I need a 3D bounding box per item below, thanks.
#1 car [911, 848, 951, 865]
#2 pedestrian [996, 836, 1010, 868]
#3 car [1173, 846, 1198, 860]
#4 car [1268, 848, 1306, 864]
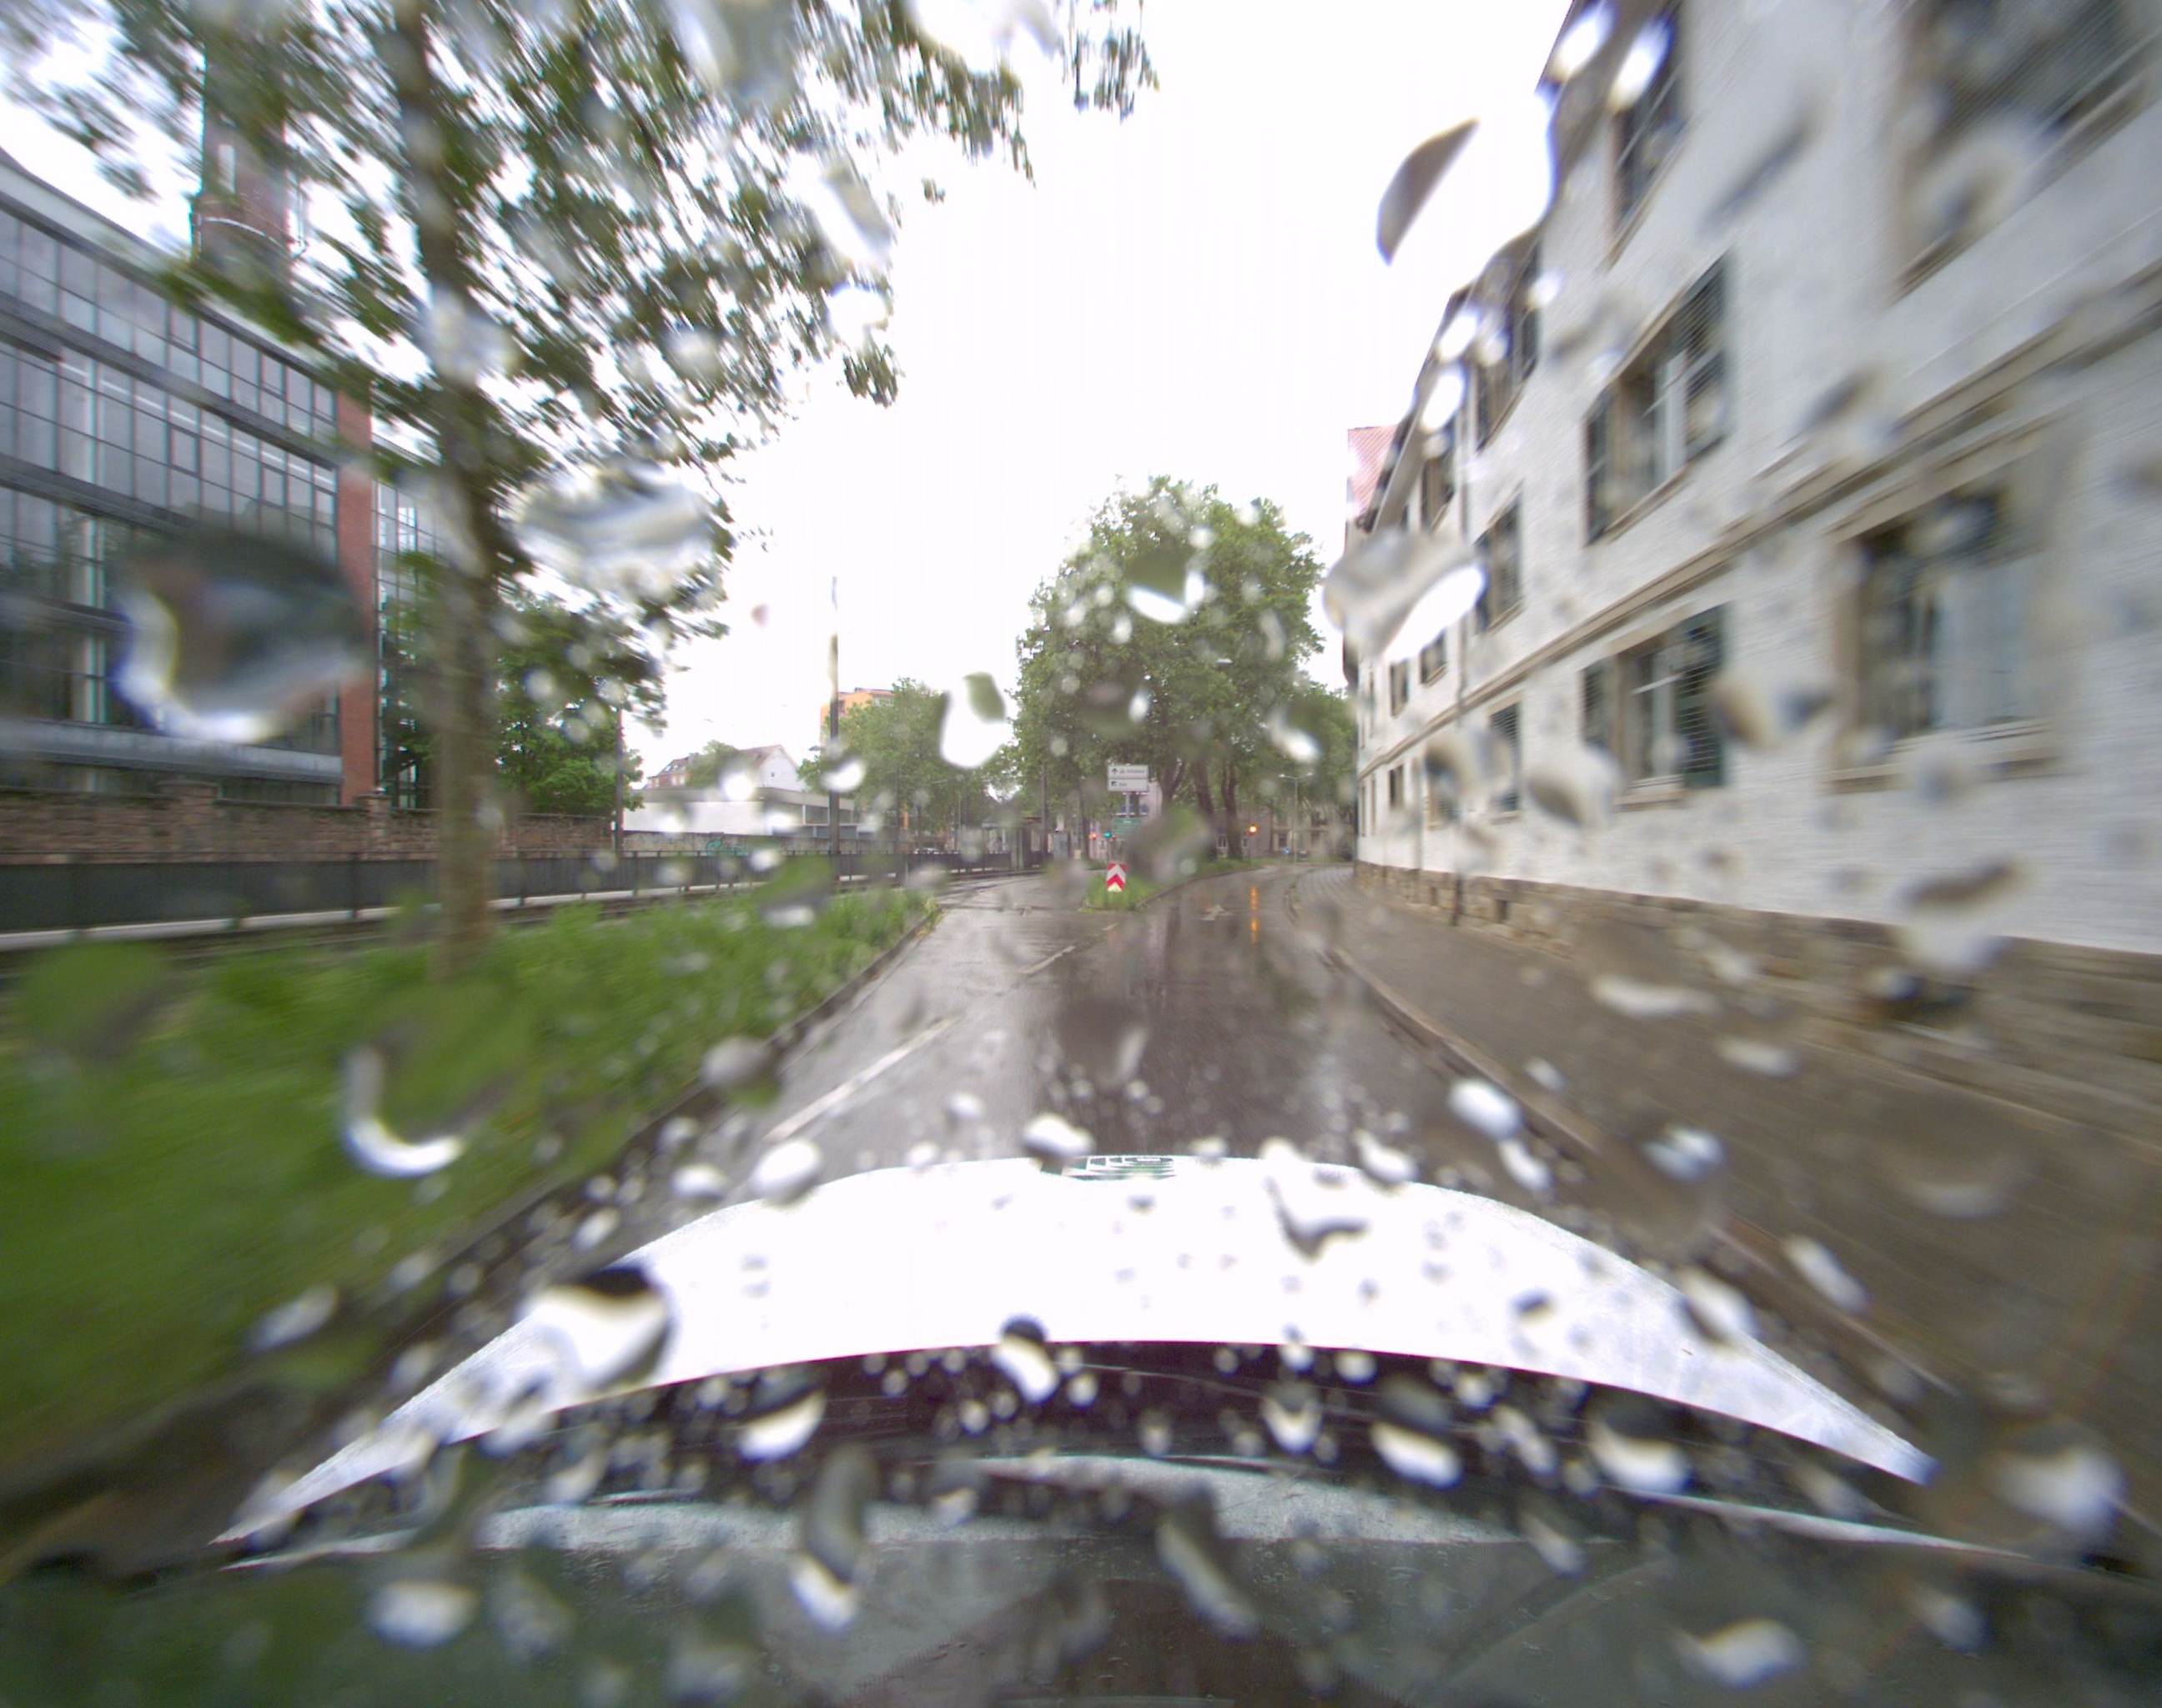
[{"bbox_3d":[-16.131,0.254,87.637,3.967,1.651,1.985,-2,0,33],"label":"car"},{"bbox_3d":[-4.235,-0.118,44.283,0.583,1.731,0.564,-2,0,-21],"label":"pedestrian"},{"bbox_3d":[12.134,-0.130,94.333,1.709,1.552,3.581,-2,0,27],"label":"car"},{"bbox_3d":[21.329,0.244,84.452,3.445,1.523,1.529,-2,0,30],"label":"car"}]
